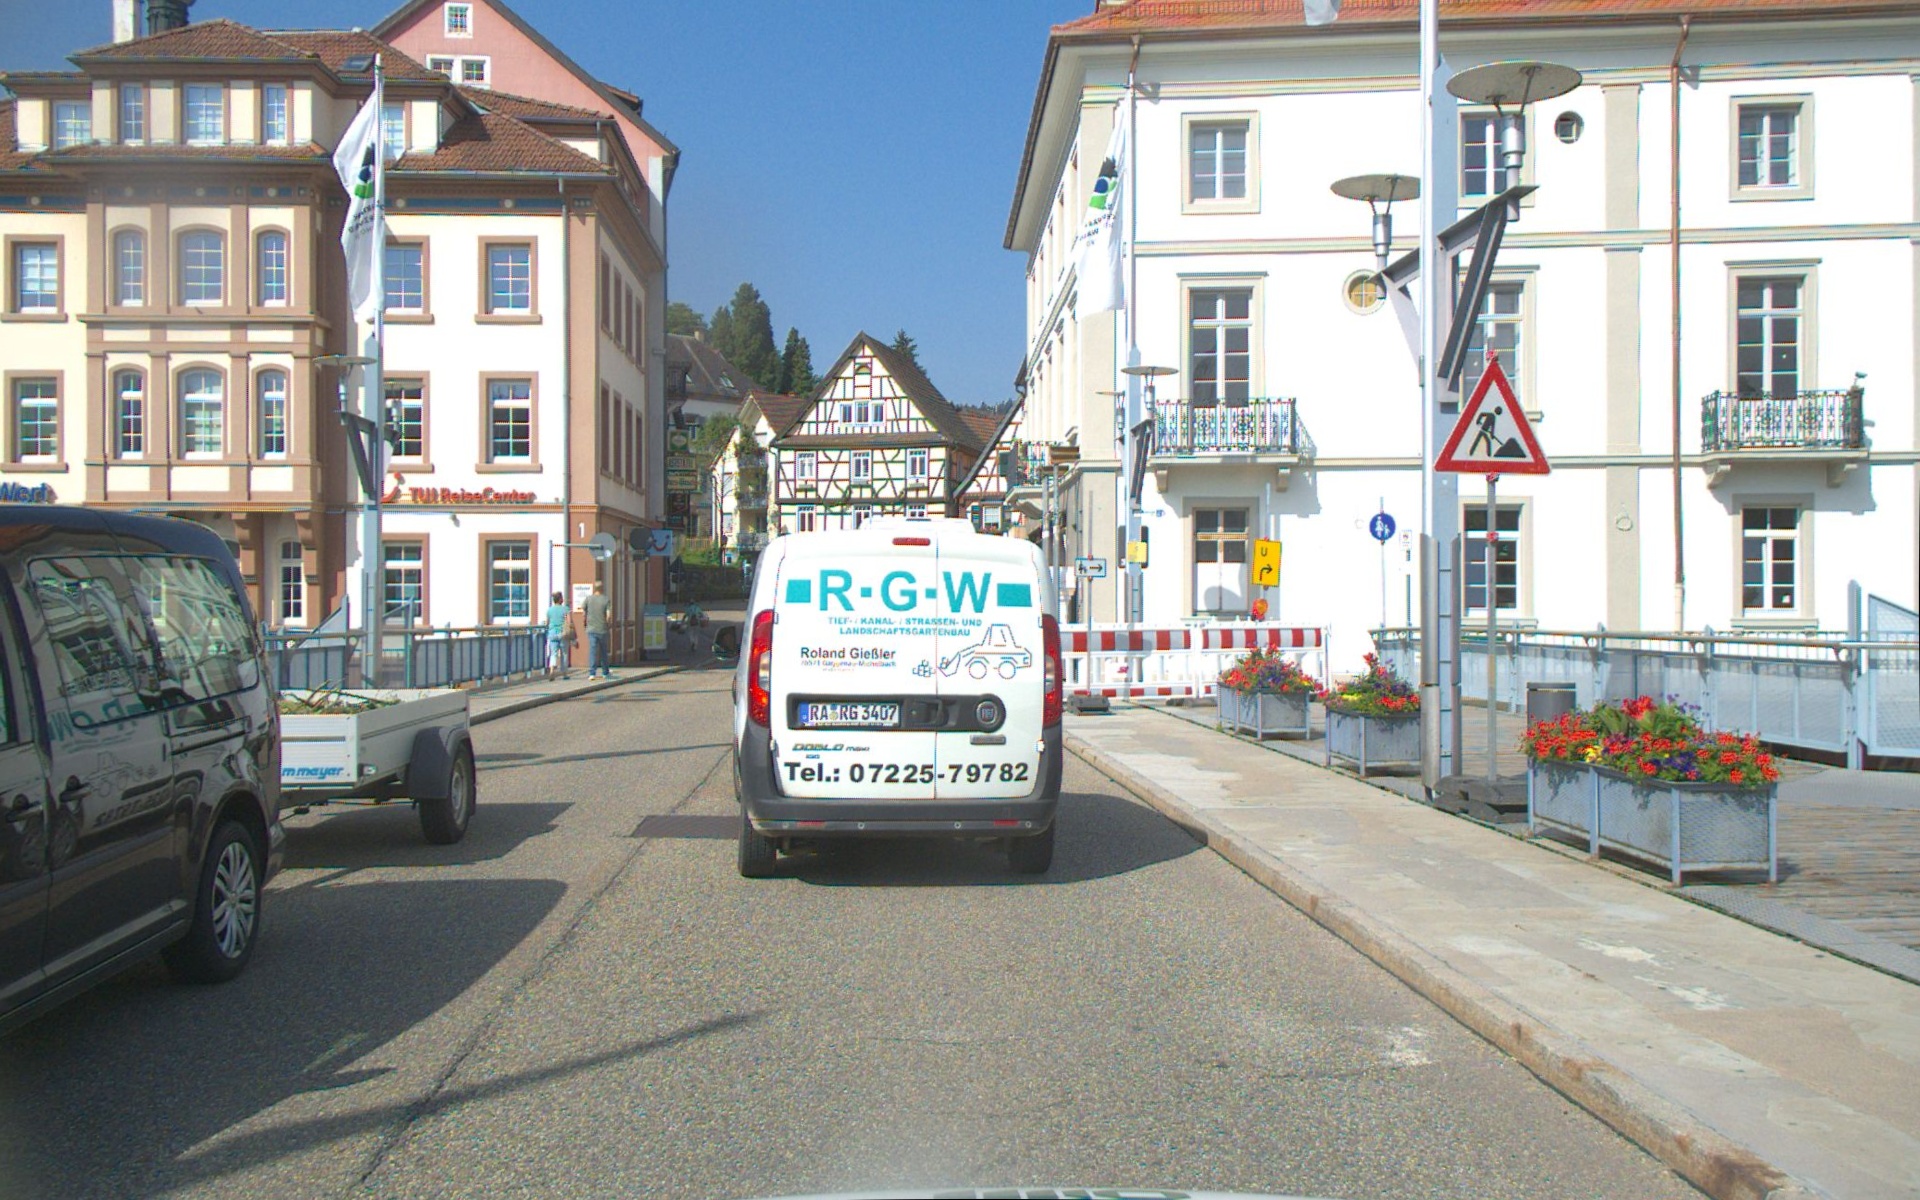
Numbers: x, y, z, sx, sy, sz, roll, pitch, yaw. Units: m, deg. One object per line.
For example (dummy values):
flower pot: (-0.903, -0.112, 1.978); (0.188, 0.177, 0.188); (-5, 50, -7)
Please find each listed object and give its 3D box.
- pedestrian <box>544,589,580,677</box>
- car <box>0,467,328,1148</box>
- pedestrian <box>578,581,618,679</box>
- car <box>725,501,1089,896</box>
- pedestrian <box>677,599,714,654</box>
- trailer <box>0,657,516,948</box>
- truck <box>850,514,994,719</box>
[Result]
pedestrian: (-7.475, 0.609, 31.103); (0.572, 1.638, 0.536); (1, 0, -7)
car: (-3.466, 0.540, 4.820); (1.742, 1.823, 4.693); (1, 1, -4)
pedestrian: (-6.798, 0.554, 31.049); (0.602, 1.793, 0.863); (1, 0, -5)
car: (-0.519, 0.489, 10.385); (1.809, 1.939, 4.307); (1, 0, -7)
pedestrian: (-8.232, 0.829, 51.520); (1.052, 1.676, 0.685); (0, 1, -1)
trailer: (-3.781, 0.953, 9.290); (1.716, 1.040, 4.182); (-1, 1, -4)
truck: (-0.627, 0.214, 23.511); (1.825, 2.630, 4.256); (0, 0, -4)
